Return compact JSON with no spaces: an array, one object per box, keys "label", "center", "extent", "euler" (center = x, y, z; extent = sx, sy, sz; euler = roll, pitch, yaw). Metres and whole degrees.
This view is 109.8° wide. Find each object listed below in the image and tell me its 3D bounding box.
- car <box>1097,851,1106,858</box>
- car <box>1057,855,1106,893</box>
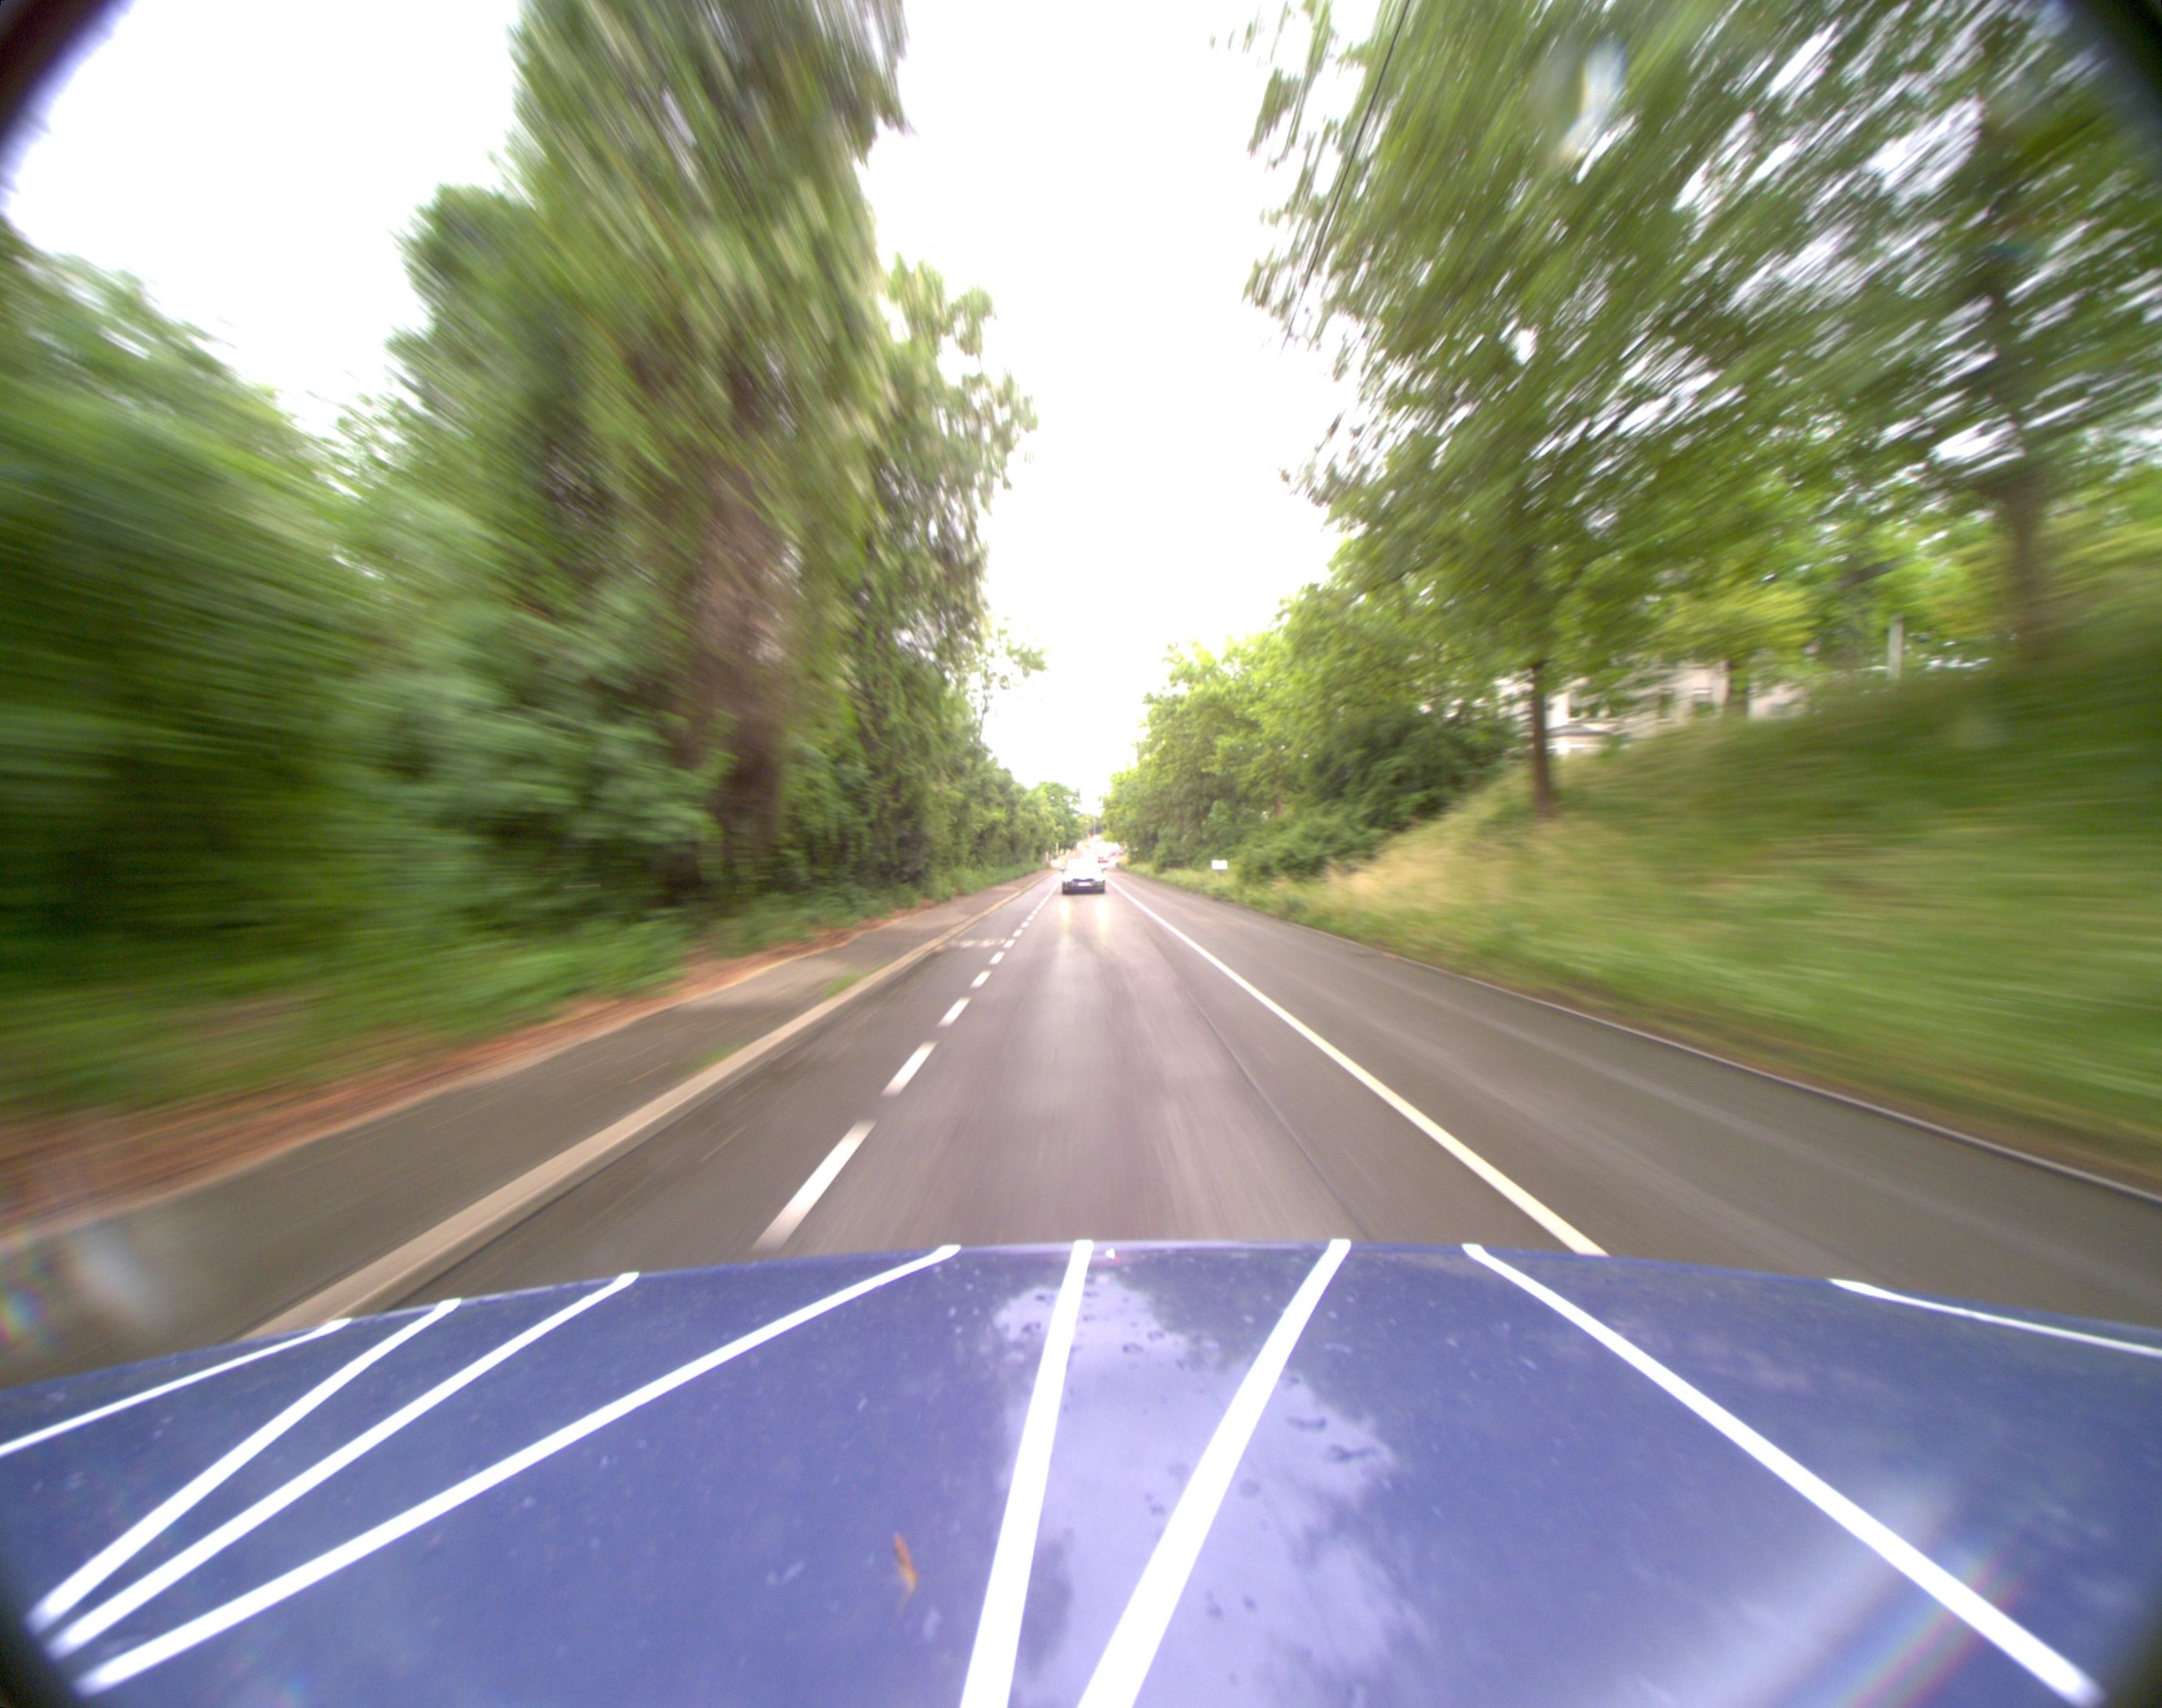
[{"label":"car","center":[5.199,0.118,193.160],"extent":[1.981,1.497,3.999],"euler":[-2,0,0]},{"label":"car","center":[0.032,0.830,33.516],"extent":[1.981,1.497,3.999],"euler":[-2,0,0]}]
